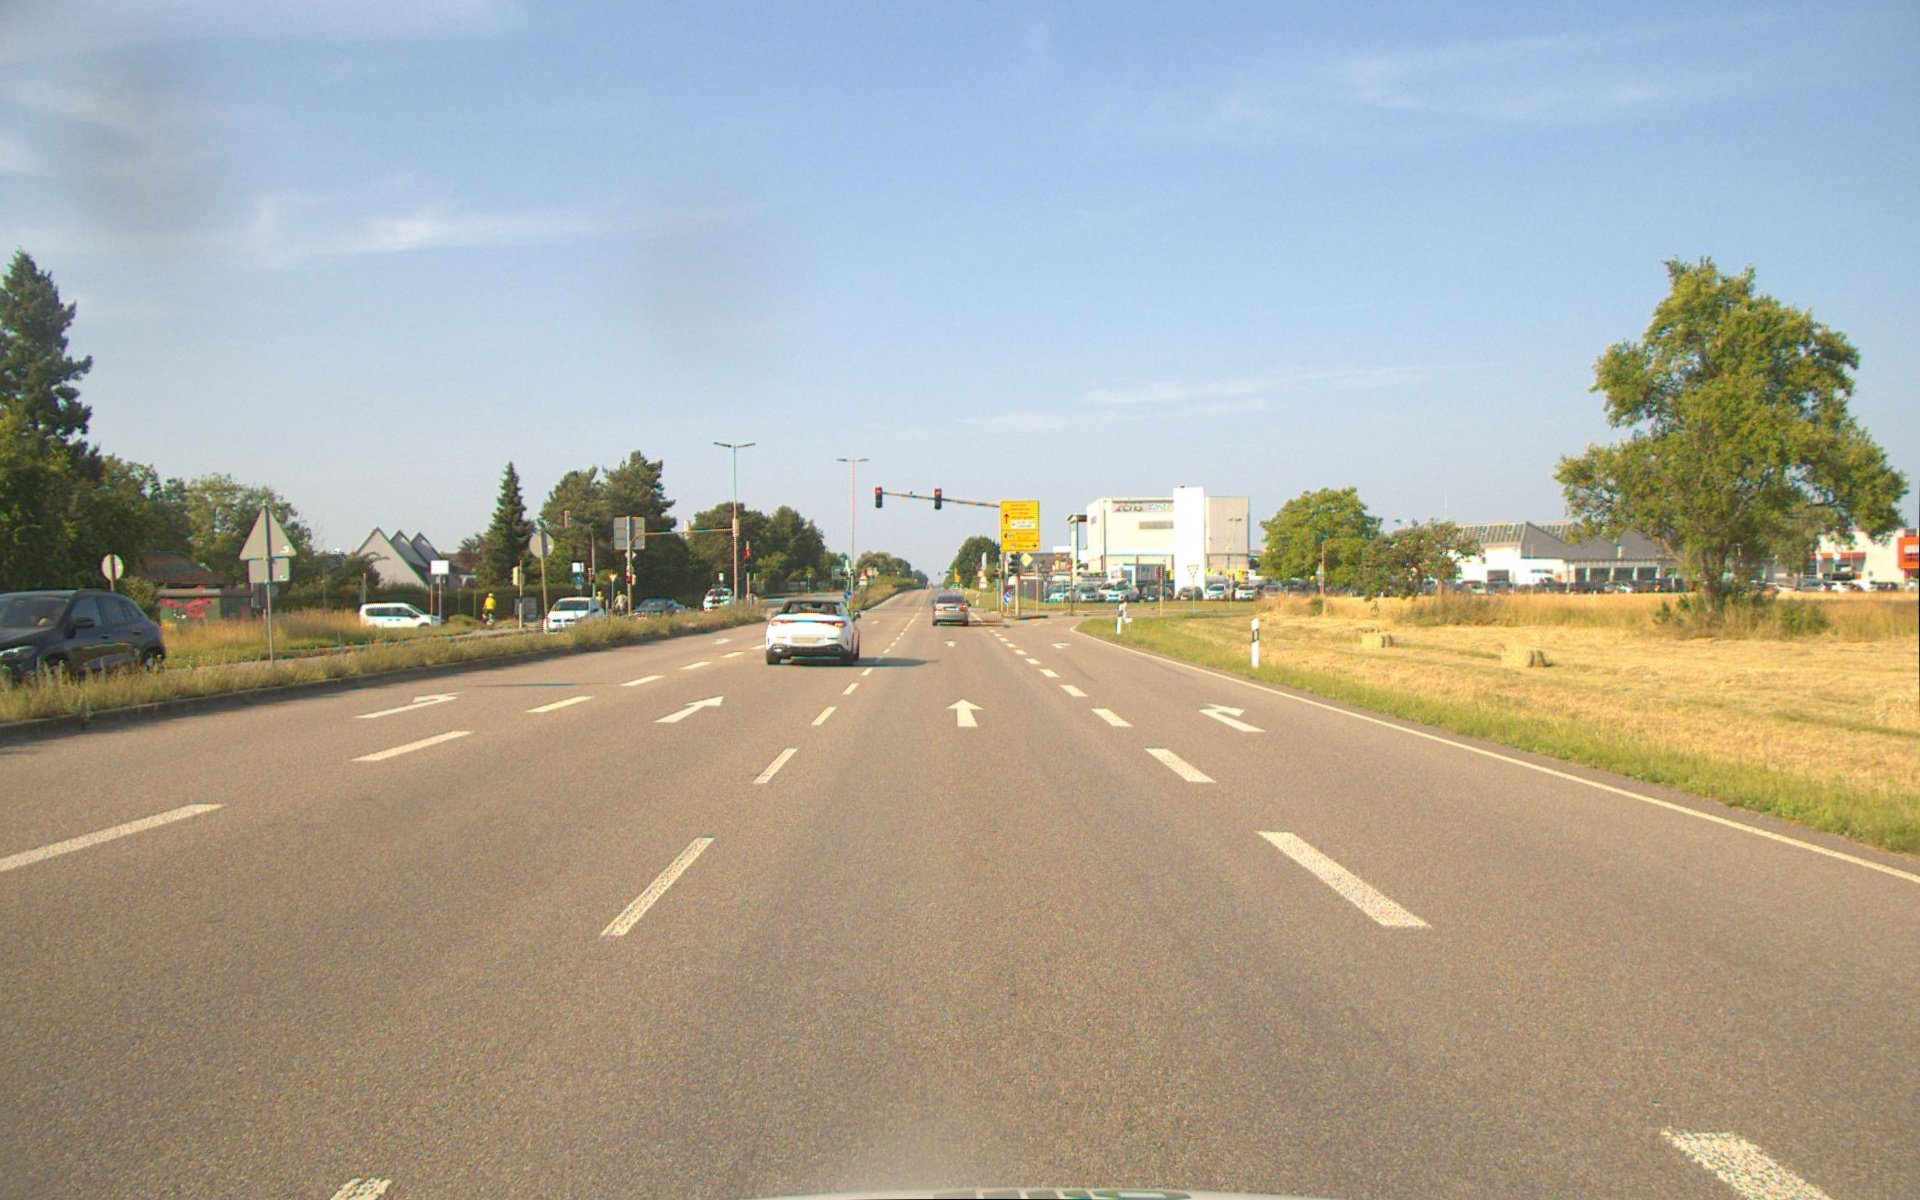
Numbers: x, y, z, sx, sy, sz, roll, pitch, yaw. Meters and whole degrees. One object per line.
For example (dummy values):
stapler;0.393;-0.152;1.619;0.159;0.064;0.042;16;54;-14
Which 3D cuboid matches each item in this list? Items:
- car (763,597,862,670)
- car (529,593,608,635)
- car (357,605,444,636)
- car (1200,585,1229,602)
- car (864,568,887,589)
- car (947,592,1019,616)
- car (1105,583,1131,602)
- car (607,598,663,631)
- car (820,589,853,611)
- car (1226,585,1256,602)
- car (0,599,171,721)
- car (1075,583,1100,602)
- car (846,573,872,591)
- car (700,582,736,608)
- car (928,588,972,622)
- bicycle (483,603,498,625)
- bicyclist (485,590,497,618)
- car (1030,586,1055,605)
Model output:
car;-3.145;0.686;35.984;1.871;1.447;3.999;1;0;-2
car;-13.982;0.474;59.243;1.953;1.422;3.999;1;0;-2
car;-29.950;1.101;88.575;4.106;1.548;1.996;1;0;-9
car;22.453;-0.579;146.260;1.952;1.467;4.000;1;0;0
car;-7.678;-1.931;150.262;1.908;1.803;4.000;1;0;0
car;1.406;0.246;100.247;3.929;1.432;1.942;1;0;-21
car;13.894;-0.669;145.551;1.952;1.673;4.000;1;0;0
car;-15.469;0.670;78.838;1.953;1.512;3.999;1;0;-2
car;-8.265;-0.029;111.355;1.908;1.432;4.000;1;0;0
car;24.900;-0.577;146.704;1.952;1.422;4.000;1;0;0
car;-12.444;0.736;22.270;1.693;1.432;4.000;1;0;0
car;11.246;-0.698;145.927;1.952;1.646;4.000;1;0;0
car;-8.290;-1.500;136.045;1.908;1.432;4.000;1;0;0
car;-17.273;-0.352;118.151;1.908;1.831;4.000;1;0;0
car;-0.501;0.201;76.470;1.953;1.512;3.999;1;0;-2
bicycle;-22.890;0.675;80.645;0.399;1.032;1.602;-1;0;-4
bicyclist;-22.885;0.183;80.673;0.447;1.375;0.551;-1;0;-4
car;7.266;-0.424;145.850;1.952;1.624;4.000;1;0;0
